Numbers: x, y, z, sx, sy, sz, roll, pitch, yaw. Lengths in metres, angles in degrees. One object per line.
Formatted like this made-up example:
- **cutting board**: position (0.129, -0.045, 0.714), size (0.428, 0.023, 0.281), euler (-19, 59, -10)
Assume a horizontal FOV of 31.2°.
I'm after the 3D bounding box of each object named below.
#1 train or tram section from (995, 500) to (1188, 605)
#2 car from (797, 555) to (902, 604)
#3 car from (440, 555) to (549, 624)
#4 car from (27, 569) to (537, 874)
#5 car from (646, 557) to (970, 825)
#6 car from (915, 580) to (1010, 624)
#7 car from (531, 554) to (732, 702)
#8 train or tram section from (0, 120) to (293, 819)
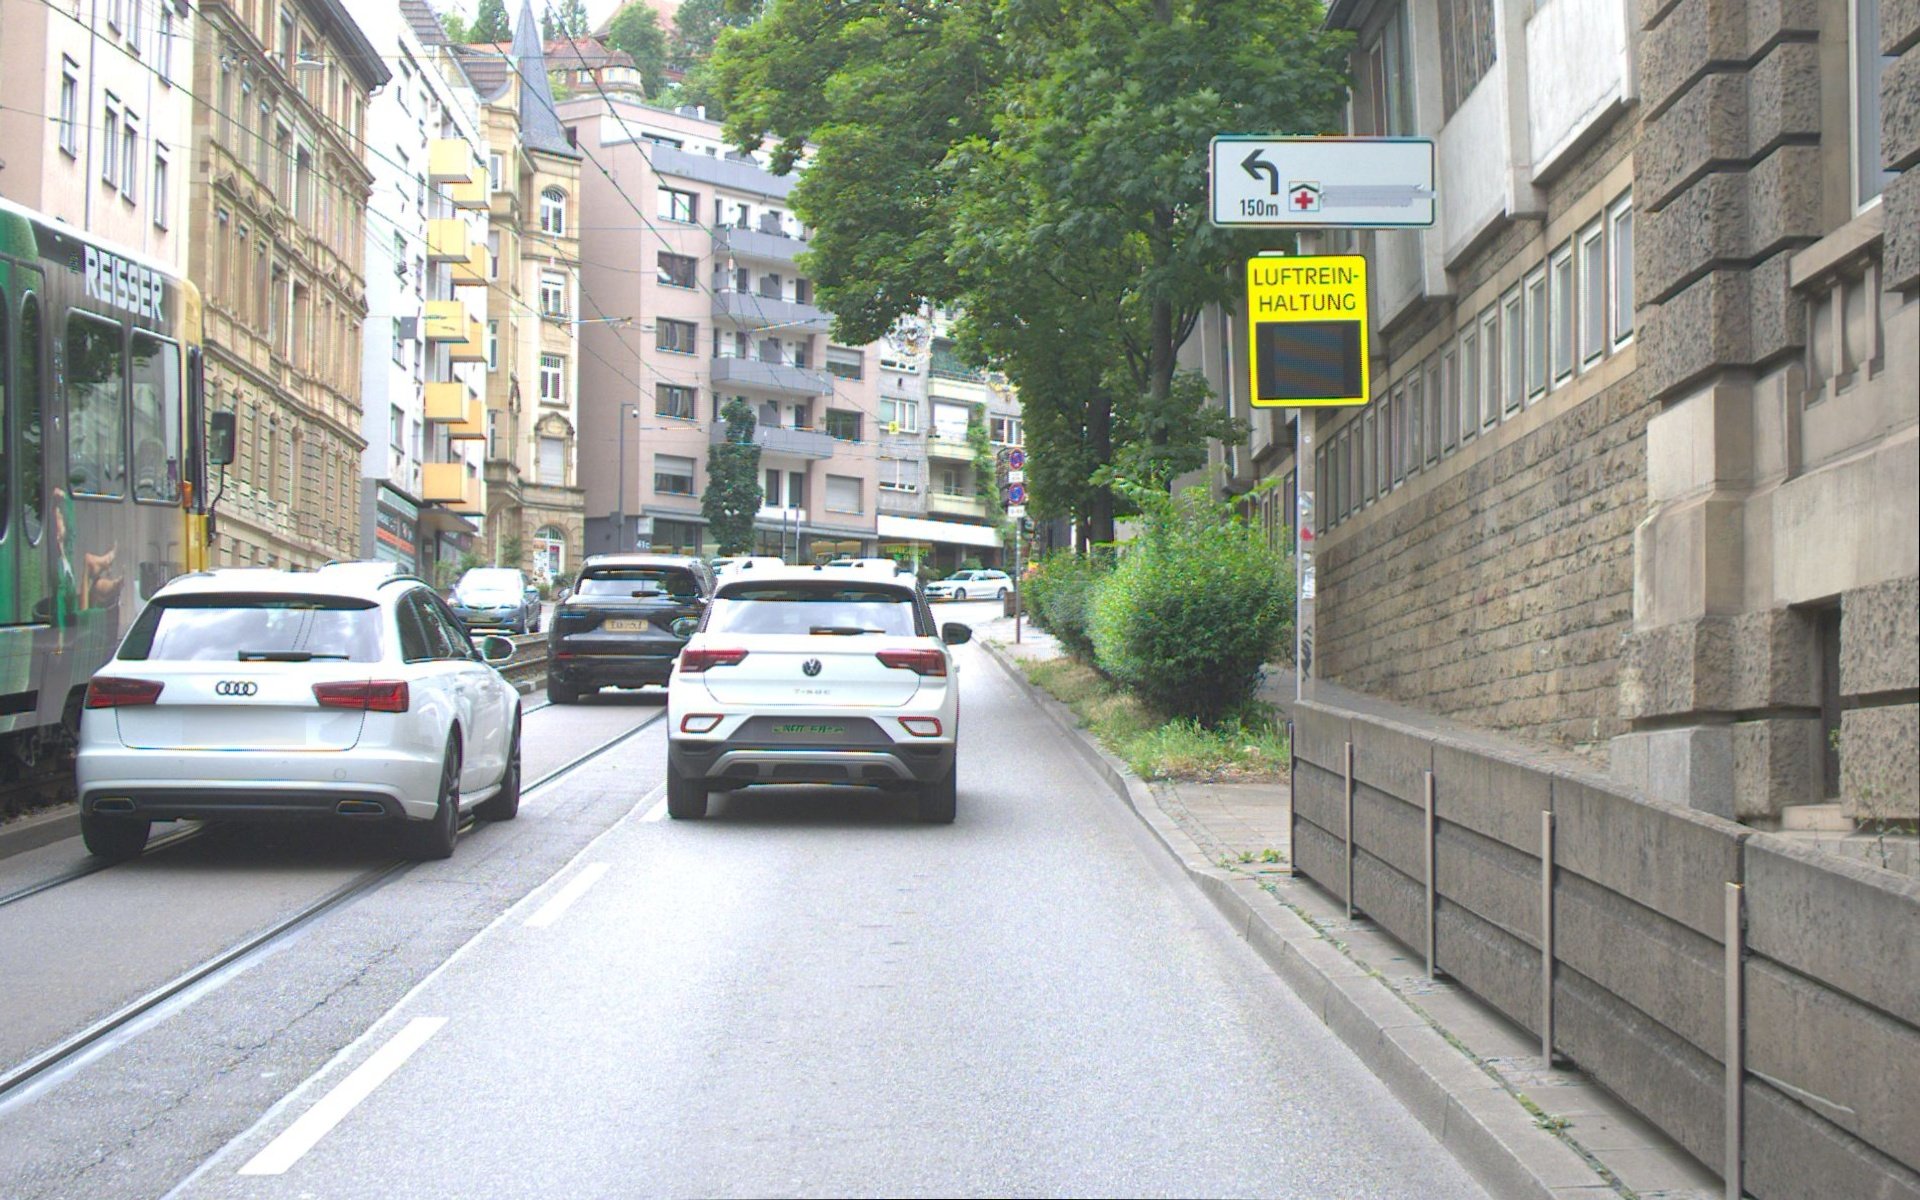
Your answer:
- **train or tram section**: position (5.885, -1.953, 147.835), size (3.020, 4.199, 18.841), euler (1, 1, 19)
- **car**: position (-4.770, -0.886, 149.472), size (1.998, 2.028, 4.691), euler (1, 1, 38)
- **car**: position (-10.344, -0.243, 76.726), size (1.843, 1.450, 4.661), euler (1, 0, -1)
- **car**: position (-3.520, 0.596, 18.714), size (1.879, 1.450, 4.617), euler (0, 0, 0)
- **car**: position (-0.980, 0.530, 22.160), size (1.878, 1.549, 4.000), euler (1, 0, -3)
- **car**: position (0.115, 0.079, 154.871), size (1.908, 1.916, 4.425), euler (1, 1, 38)
- **car**: position (-3.679, 0.275, 39.197), size (2.037, 1.566, 4.359), euler (1, 1, -3)
- **train or tram section**: position (-6.541, -0.714, 17.239), size (2.876, 3.713, 18.757), euler (2, 1, -1)
